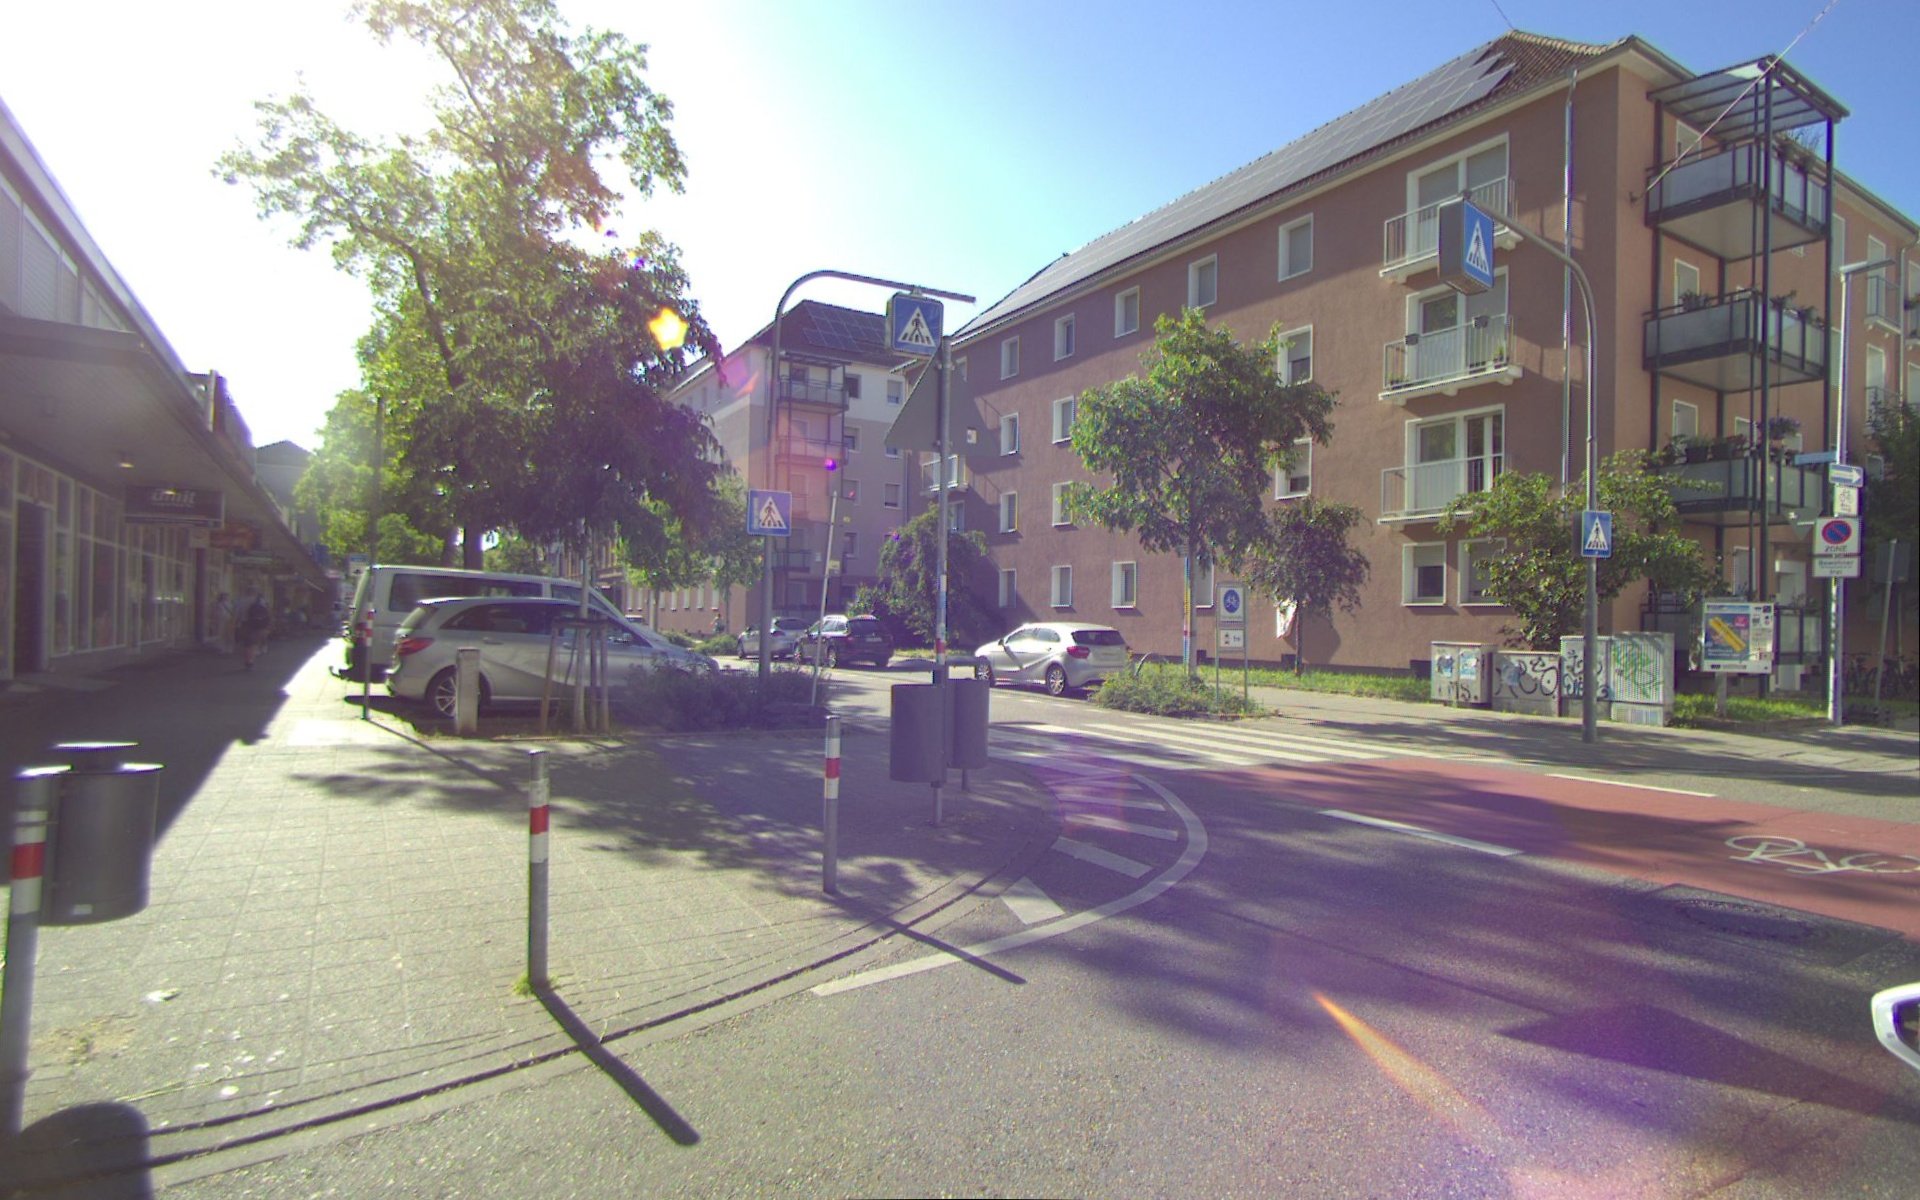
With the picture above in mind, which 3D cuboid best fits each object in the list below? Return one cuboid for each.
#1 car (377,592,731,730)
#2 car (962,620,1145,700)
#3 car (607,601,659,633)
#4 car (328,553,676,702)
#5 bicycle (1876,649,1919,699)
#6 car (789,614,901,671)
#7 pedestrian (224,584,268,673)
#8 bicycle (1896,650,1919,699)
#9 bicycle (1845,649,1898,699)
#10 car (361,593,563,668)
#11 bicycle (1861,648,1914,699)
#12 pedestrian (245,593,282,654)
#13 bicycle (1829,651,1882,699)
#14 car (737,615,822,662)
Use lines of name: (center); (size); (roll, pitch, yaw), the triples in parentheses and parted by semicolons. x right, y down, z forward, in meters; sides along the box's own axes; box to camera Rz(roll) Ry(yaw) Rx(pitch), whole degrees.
car: (-5.494, 0.785, 13.778); (4.257, 1.634, 1.743); (2, -1, -33)
car: (1.856, 1.189, 21.196); (1.726, 1.473, 4.120); (2, -1, -31)
car: (-16.439, 0.847, 50.404); (1.725, 1.539, 3.827); (2, -1, -30)
car: (-7.119, 0.503, 15.818); (4.696, 2.032, 1.942); (4, -2, -34)
bicycle: (21.605, 1.681, 23.038); (0.248, 1.086, 1.217); (1, -1, 8)
car: (-3.512, 1.222, 30.030); (1.768, 1.539, 4.274); (2, -1, -30)
pedestrian: (-14.055, 0.560, 19.791); (0.560, 1.688, 0.707); (3, -1, -29)
bicycle: (21.845, 1.701, 22.770); (0.248, 1.086, 1.220); (1, -1, 8)
bicycle: (20.982, 1.687, 23.138); (0.261, 1.086, 1.217); (1, -1, 8)
car: (-13.107, 0.824, 26.531); (4.591, 1.828, 1.821); (2, -2, -33)
bicycle: (21.304, 1.676, 23.080); (0.248, 1.085, 1.217); (1, -1, 8)
pedestrian: (-18.257, 0.619, 26.333); (0.681, 1.542, 0.528); (3, -2, -30)
bicycle: (20.654, 1.713, 23.175); (0.285, 1.049, 1.217); (1, -1, 8)
car: (-6.396, 1.332, 35.335); (1.725, 1.539, 3.827); (2, -1, -30)
